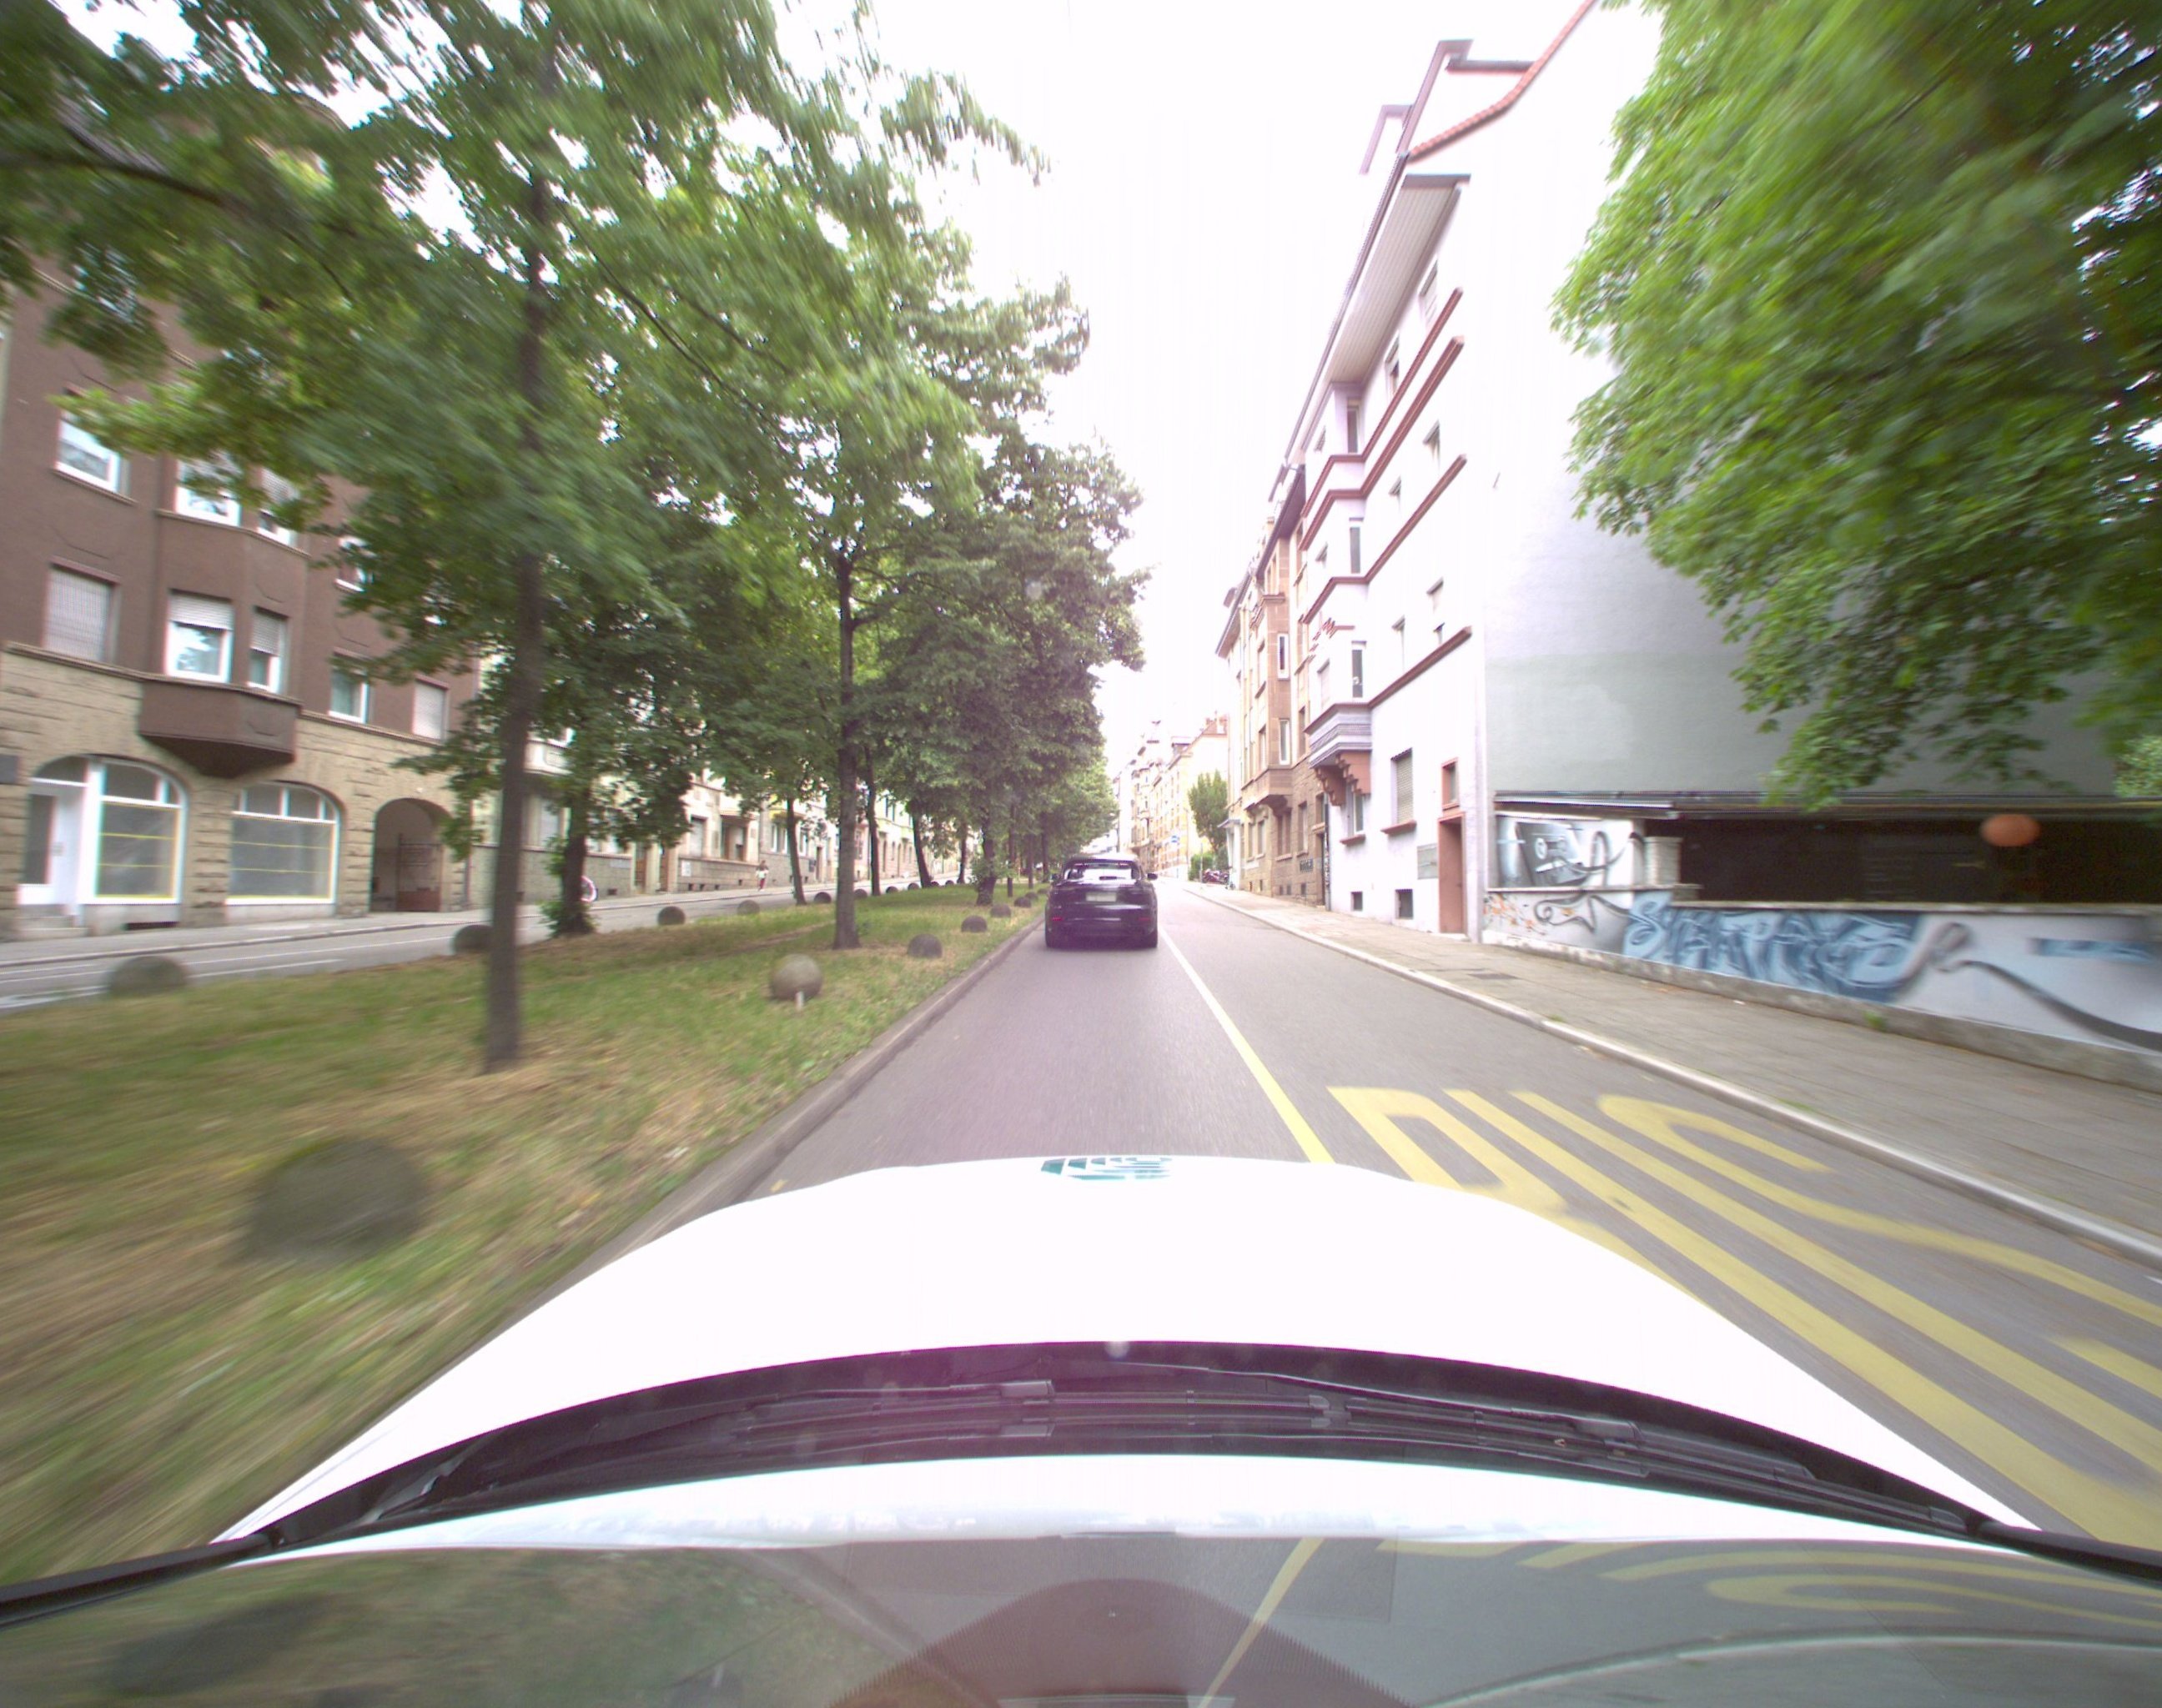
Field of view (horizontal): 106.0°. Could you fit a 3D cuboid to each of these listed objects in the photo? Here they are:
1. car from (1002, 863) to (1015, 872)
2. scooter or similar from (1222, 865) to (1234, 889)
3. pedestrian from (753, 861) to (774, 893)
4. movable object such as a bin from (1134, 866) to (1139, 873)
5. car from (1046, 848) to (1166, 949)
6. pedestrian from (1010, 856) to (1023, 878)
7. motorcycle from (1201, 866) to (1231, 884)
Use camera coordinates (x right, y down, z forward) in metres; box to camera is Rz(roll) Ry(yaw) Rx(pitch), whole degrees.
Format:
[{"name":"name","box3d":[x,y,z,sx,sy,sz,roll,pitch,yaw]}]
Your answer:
[{"name":"car","box3d":[-11.498,2.155,129.652,1.703,1.382,4.666,-1,0,-1]},{"name":"scooter or similar","box3d":[7.752,1.194,42.861,0.408,1.210,1.146,-2,2,2]},{"name":"pedestrian","box3d":[-15.176,1.090,38.911,0.696,1.460,0.704,1,0,2]},{"name":"movable object such as a bin","box3d":[7.645,2.131,112.184,0.593,0.904,0.562,1,-2,-3]},{"name":"car","box3d":[0.416,0.749,15.438,1.987,1.665,3.999,0,0,0]},{"name":"pedestrian","box3d":[-5.170,1.029,65.585,0.830,1.712,1.123,-3,-3,1]},{"name":"motorcycle","box3d":[10.159,1.586,61.155,2.050,1.268,1.009,2,-1,-3]}]
